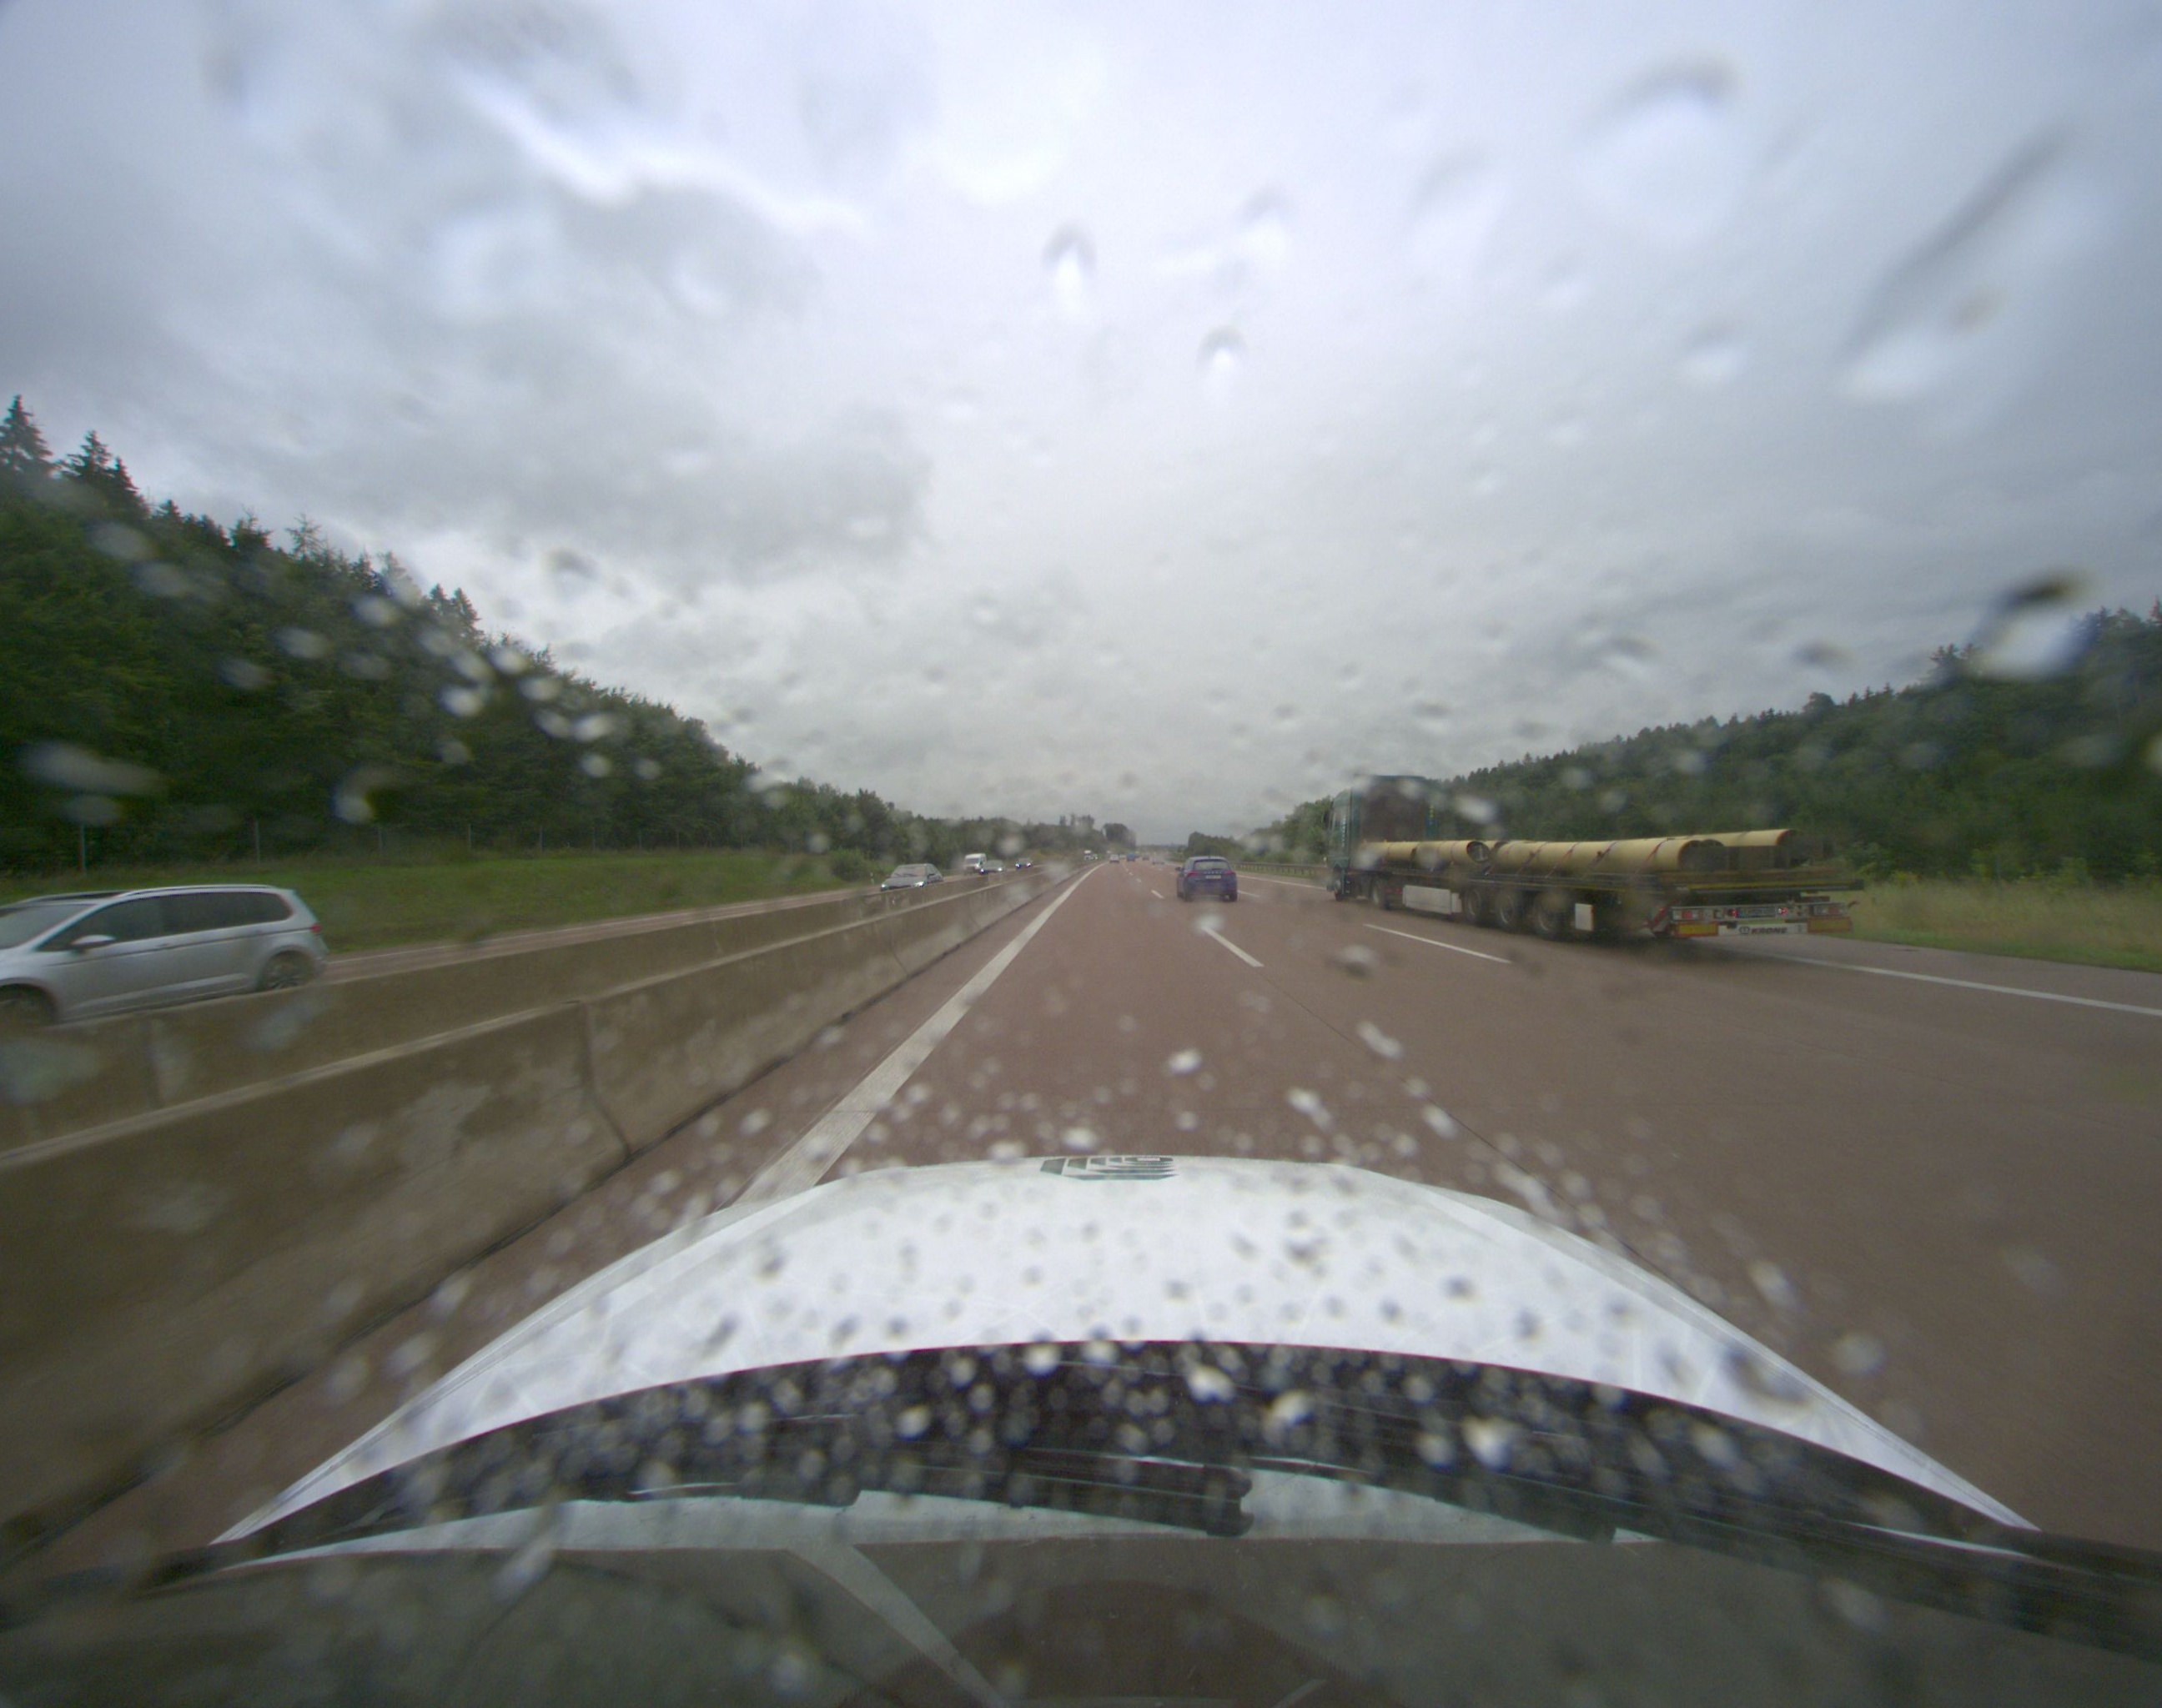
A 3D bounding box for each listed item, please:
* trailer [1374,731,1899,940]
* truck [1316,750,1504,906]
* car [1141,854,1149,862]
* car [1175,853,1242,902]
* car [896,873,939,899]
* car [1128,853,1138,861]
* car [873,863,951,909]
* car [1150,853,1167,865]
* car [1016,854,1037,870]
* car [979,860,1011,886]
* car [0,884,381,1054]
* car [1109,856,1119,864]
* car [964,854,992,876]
[{"bbox_3d":[9.181,-0.121,16.175,2.870,2.676,11.400,0,-1,1],"label":"trailer"},{"bbox_3d":[9.384,-0.583,24.250,2.887,3.965,6.989,0,-1,1],"label":"truck"},{"bbox_3d":[16.955,0.972,215.543,1.986,2.014,4.000,0,-1,1],"label":"car"},{"bbox_3d":[4.293,0.785,27.940,1.765,1.564,4.147,0,-1,1],"label":"car"},{"bbox_3d":[-10.546,2.041,52.938,1.644,1.389,4.811,-4,0,1],"label":"car"},{"bbox_3d":[12.554,0.764,197.522,2.314,1.750,4.878,0,-1,1],"label":"car"},{"bbox_3d":[-6.788,1.251,33.412,1.851,1.707,6.164,0,-1,1],"label":"car"},{"bbox_3d":[12.326,0.837,129.406,2.314,1.750,4.878,0,-1,1],"label":"car"},{"bbox_3d":[-6.561,0.933,97.899,1.985,1.827,4.689,-1,0,2],"label":"car"},{"bbox_3d":[-6.951,1.539,66.495,1.987,2.014,5.525,0,-1,1],"label":"car"},{"bbox_3d":[-11.666,1.280,10.009,1.782,1.557,4.866,-3,0,1],"label":"car"},{"bbox_3d":[6.460,1.159,159.590,1.868,1.444,4.874,0,-1,-1],"label":"car"},{"bbox_3d":[-12.274,1.342,97.173,2.215,2.585,6.258,0,-1,3],"label":"car"}]
